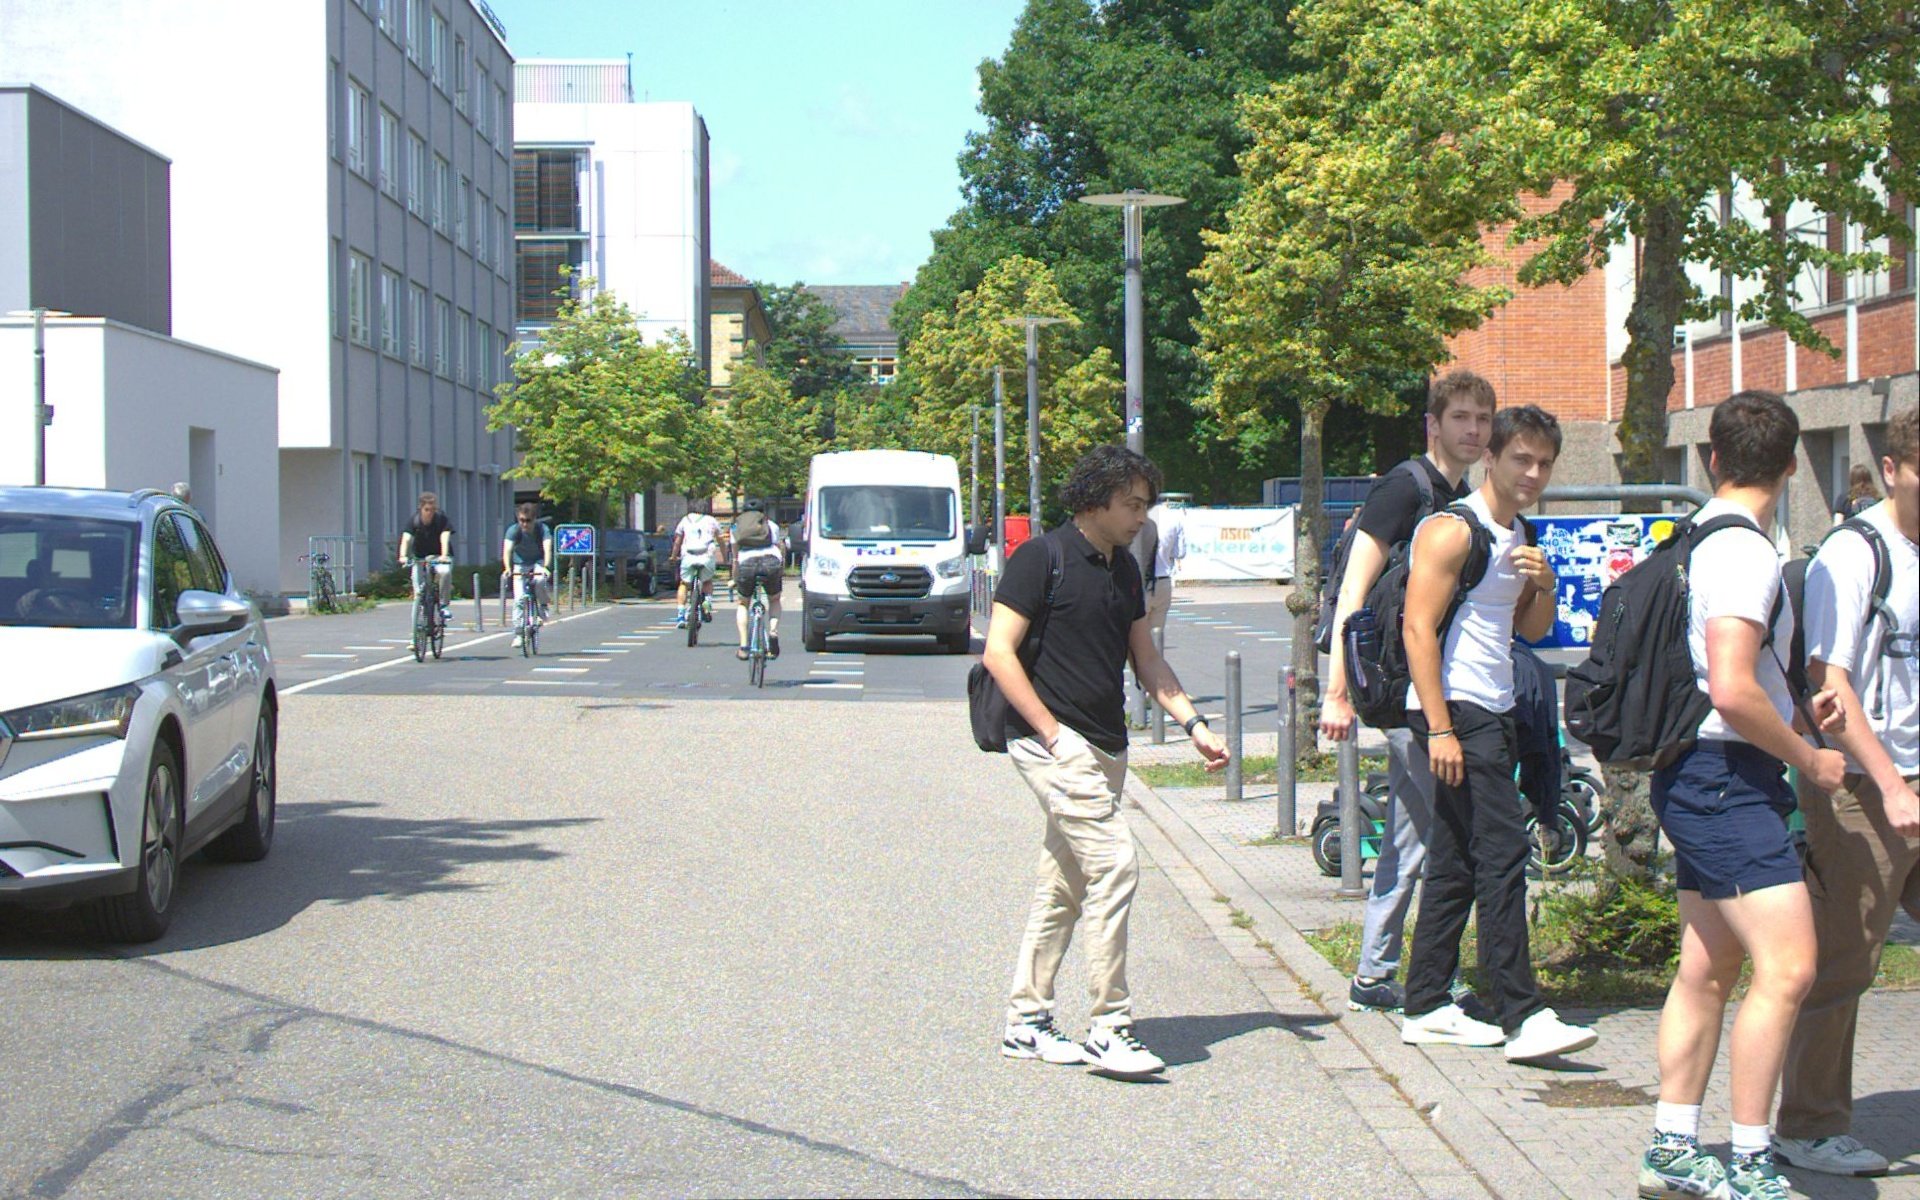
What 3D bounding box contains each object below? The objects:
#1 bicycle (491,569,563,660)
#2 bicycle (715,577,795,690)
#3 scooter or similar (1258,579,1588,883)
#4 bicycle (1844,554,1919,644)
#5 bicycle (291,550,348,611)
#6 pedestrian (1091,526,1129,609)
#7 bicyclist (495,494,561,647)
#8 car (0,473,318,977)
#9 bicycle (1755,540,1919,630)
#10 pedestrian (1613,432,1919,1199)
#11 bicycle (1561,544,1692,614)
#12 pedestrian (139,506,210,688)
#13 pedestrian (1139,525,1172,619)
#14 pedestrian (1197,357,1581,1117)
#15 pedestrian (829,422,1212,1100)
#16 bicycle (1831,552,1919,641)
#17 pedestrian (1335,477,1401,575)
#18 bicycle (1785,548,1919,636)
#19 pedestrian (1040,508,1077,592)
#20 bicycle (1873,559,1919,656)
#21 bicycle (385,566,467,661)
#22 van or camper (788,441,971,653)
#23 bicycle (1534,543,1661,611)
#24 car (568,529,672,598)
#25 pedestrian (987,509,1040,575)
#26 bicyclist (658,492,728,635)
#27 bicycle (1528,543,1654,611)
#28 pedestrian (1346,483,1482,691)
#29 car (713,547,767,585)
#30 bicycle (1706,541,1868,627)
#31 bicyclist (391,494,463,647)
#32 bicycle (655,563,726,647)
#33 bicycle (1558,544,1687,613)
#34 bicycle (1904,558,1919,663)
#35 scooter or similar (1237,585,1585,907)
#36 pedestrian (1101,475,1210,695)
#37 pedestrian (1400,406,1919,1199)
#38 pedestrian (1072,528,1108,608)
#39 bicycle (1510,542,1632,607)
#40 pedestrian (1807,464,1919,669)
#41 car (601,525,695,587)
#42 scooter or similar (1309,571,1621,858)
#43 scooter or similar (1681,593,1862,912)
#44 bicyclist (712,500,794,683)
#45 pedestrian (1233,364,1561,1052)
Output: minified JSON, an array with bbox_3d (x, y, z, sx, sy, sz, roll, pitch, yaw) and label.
[{"bbox_3d":[-4.854,0.152,38.629,0.677,0.961,2.003,1,1,-4],"label":"bicycle"},{"bbox_3d":[-1.908,0.295,31.946,0.706,0.990,1.911,-1,1,-3],"label":"bicycle"},{"bbox_3d":[2.013,0.545,14.963,1.262,1.260,0.649,0,1,31],"label":"scooter or similar"},{"bbox_3d":[10.226,-0.030,35.945,1.809,0.909,0.560,-2,1,-2],"label":"bicycle"},{"bbox_3d":[-10.604,-0.331,56.962,0.523,0.981,1.632,-2,1,3],"label":"bicycle"},{"bbox_3d":[3.370,-0.735,77.061,0.790,1.853,1.026,-1,1,0],"label":"pedestrian"},{"bbox_3d":[-4.850,-0.337,38.634,0.667,1.676,0.993,-1,1,-5],"label":"bicyclist"},{"bbox_3d":[-3.774,0.364,13.353,1.917,1.613,4.521,3,0,-4],"label":"car"},{"bbox_3d":[10.201,-0.177,39.879,1.809,0.981,0.560,-2,1,-2],"label":"bicycle"},{"bbox_3d":[2.070,0.493,7.818,0.908,1.733,0.677,0,2,38],"label":"pedestrian"},{"bbox_3d":[9.871,-0.316,50.941,1.809,0.981,0.560,-2,1,-2],"label":"bicycle"},{"bbox_3d":[-7.847,-0.029,34.318,0.666,1.779,0.985,0,0,-14],"label":"pedestrian"},{"bbox_3d":[3.855,-0.554,67.936,0.576,1.853,0.570,-1,1,-3],"label":"pedestrian"},{"bbox_3d":[1.168,0.354,9.446,0.616,1.973,0.829,-1,0,-33],"label":"pedestrian"},{"bbox_3d":[0.183,0.409,9.469,0.802,1.766,0.854,0,2,20],"label":"pedestrian"},{"bbox_3d":[10.284,-0.050,36.704,1.809,0.909,0.560,-2,1,-2],"label":"bicycle"},{"bbox_3d":[7.829,-1.412,65.883,0.853,1.853,1.114,0,1,31],"label":"pedestrian"},{"bbox_3d":[10.126,-0.097,38.113,1.809,0.909,0.560,-2,1,-2],"label":"bicycle"},{"bbox_3d":[2.211,-1.125,77.282,0.790,1.853,1.243,-1,1,0],"label":"pedestrian"},{"bbox_3d":[10.342,0.060,35.254,1.783,0.975,0.560,-1,1,-3],"label":"bicycle"},{"bbox_3d":[-5.684,0.130,36.678,0.677,0.961,2.003,1,1,-3],"label":"bicycle"},{"bbox_3d":[-0.931,-0.628,42.220,1.993,2.437,4.569,-1,0,1],"label":"van or camper"},{"bbox_3d":[9.723,-0.350,52.473,1.809,0.981,0.560,-2,1,-2],"label":"bicycle"},{"bbox_3d":[-7.793,-0.856,79.084,1.795,1.525,4.000,-1,1,3],"label":"car"},{"bbox_3d":[1.696,-1.850,108.880,1.500,1.989,1.646,-3,2,3],"label":"pedestrian"},{"bbox_3d":[-3.372,-0.461,43.506,0.771,1.750,0.848,3,1,-3],"label":"bicyclist"},{"bbox_3d":[9.730,-0.360,53.037,1.809,0.981,0.560,-2,1,-2],"label":"bicycle"},{"bbox_3d":[3.865,-0.120,29.362,0.853,1.727,1.161,-1,1,-8],"label":"pedestrian"},{"bbox_3d":[-9.266,-1.451,145.026,1.795,1.525,4.000,-1,1,3],"label":"car"},{"bbox_3d":[10.054,-0.196,41.837,1.809,0.981,0.560,-2,1,-2],"label":"bicycle"},{"bbox_3d":[-5.688,-0.321,36.735,0.643,1.596,0.909,-1,1,-3],"label":"bicyclist"},{"bbox_3d":[-3.407,0.055,43.599,0.808,0.999,2.124,2,1,-3],"label":"bicycle"},{"bbox_3d":[9.974,-0.327,51.774,1.809,0.981,0.560,-2,1,-2],"label":"bicycle"},{"bbox_3d":[10.177,0.089,33.945,1.535,1.029,0.560,-1,1,-2],"label":"bicycle"},{"bbox_3d":[1.860,0.575,14.187,1.262,1.260,0.649,0,1,31],"label":"scooter or similar"},{"bbox_3d":[1.560,-0.108,27.534,0.702,1.689,0.962,-3,-1,-1],"label":"pedestrian"},{"bbox_3d":[1.588,0.490,7.347,0.982,1.733,0.699,-3,0,40],"label":"pedestrian"},{"bbox_3d":[3.041,-0.746,80.345,0.790,1.853,1.026,-1,1,0],"label":"pedestrian"},{"bbox_3d":[9.733,-0.405,54.758,1.809,0.981,0.560,-2,1,-2],"label":"bicycle"},{"bbox_3d":[8.370,-0.313,31.772,0.790,1.853,1.116,-1,1,0],"label":"pedestrian"},{"bbox_3d":[-7.824,-1.122,86.496,1.795,1.525,4.000,-1,1,3],"label":"car"},{"bbox_3d":[2.317,0.504,15.781,1.262,1.260,0.638,0,1,31],"label":"scooter or similar"},{"bbox_3d":[3.176,0.565,13.428,0.649,1.156,1.264,0,1,14],"label":"scooter or similar"},{"bbox_3d":[-1.913,-0.073,31.695,0.717,1.656,1.095,1,-1,-4],"label":"bicyclist"},{"bbox_3d":[1.320,0.302,10.309,0.827,1.973,0.691,0,2,20],"label":"pedestrian"}]
